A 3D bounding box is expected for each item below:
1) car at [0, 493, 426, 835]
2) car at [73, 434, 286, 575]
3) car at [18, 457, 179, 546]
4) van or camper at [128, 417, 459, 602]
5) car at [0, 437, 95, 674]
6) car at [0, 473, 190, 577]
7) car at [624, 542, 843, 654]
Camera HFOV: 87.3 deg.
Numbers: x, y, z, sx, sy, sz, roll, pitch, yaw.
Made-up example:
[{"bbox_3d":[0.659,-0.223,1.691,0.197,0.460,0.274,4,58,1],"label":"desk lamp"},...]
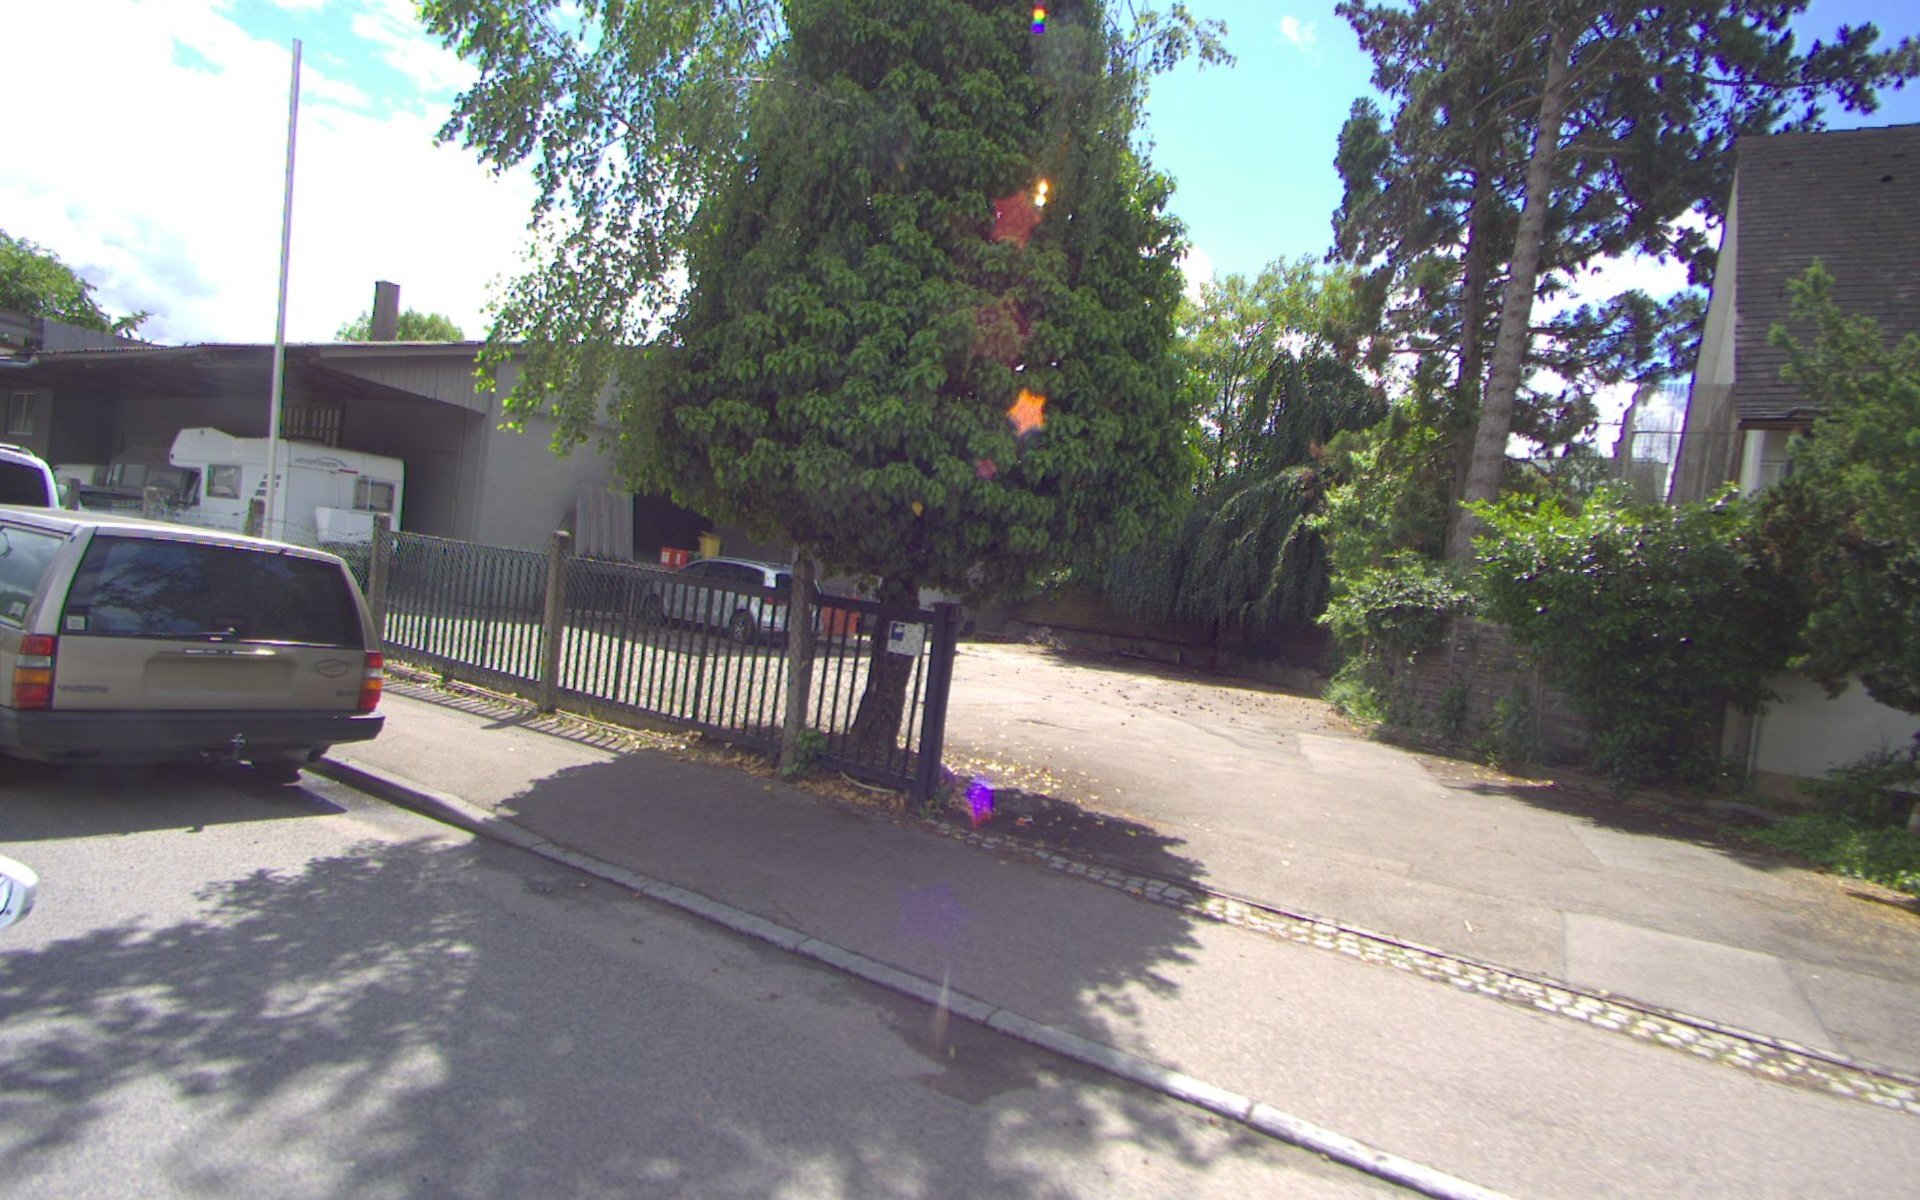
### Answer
[{"bbox_3d":[-5.705,0.138,6.389,4.912,1.467,1.758,7,-2,32],"label":"car"},{"bbox_3d":[-18.883,-2.327,24.254,5.404,2.715,2.020,8,1,30],"label":"car"},{"bbox_3d":[-24.284,-2.791,28.314,4.772,1.934,1.995,8,1,32],"label":"car"},{"bbox_3d":[-13.966,-1.926,20.952,6.797,3.099,2.885,7,0,31],"label":"van or camper"},{"bbox_3d":[-10.293,-0.674,9.179,5.299,1.907,1.909,7,-1,31],"label":"car"},{"bbox_3d":[-17.241,-1.526,19.697,4.844,1.508,1.766,8,0,32],"label":"car"},{"bbox_3d":[-5.099,-0.073,22.383,4.733,1.774,1.819,9,2,33],"label":"car"}]
